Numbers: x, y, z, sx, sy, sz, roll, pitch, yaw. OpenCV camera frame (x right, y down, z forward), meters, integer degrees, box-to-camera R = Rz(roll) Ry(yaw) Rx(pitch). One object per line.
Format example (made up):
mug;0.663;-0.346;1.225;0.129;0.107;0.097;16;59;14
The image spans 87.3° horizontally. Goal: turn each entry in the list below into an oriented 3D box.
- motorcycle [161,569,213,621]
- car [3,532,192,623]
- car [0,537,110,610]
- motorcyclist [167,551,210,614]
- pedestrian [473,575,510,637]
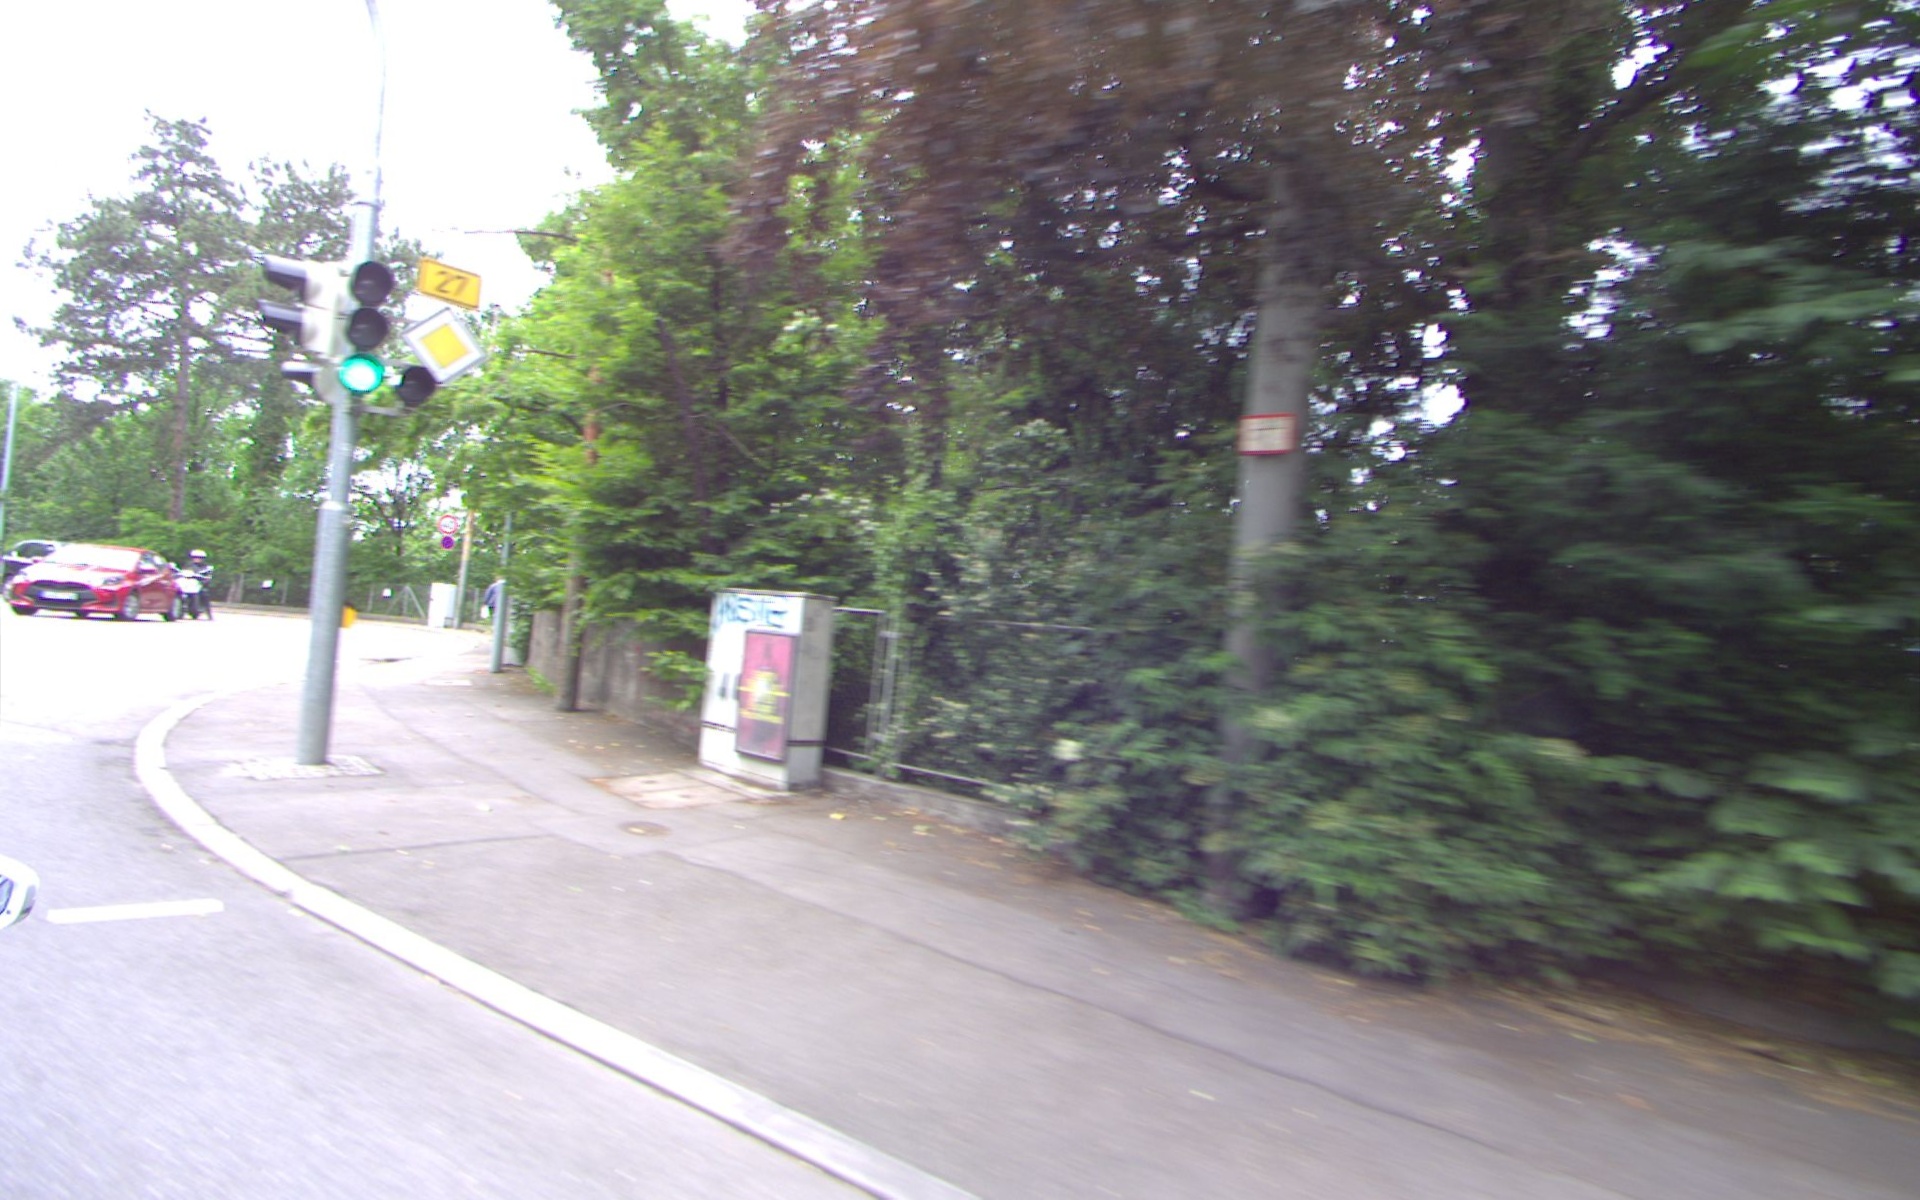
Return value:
motorcycle;-18.555;-0.131;24.179;0.593;1.167;1.572;5;0;-26
car;-16.970;-0.374;20.031;1.650;1.485;3.937;5;-3;-23
car;-25.502;-0.762;27.485;4.598;1.696;1.818;3;-2;28
motorcyclist;-18.514;-0.411;24.152;0.593;1.448;0.752;5;0;-26
pedestrian;-12.814;0.155;27.516;0.676;1.652;0.666;4;2;43
